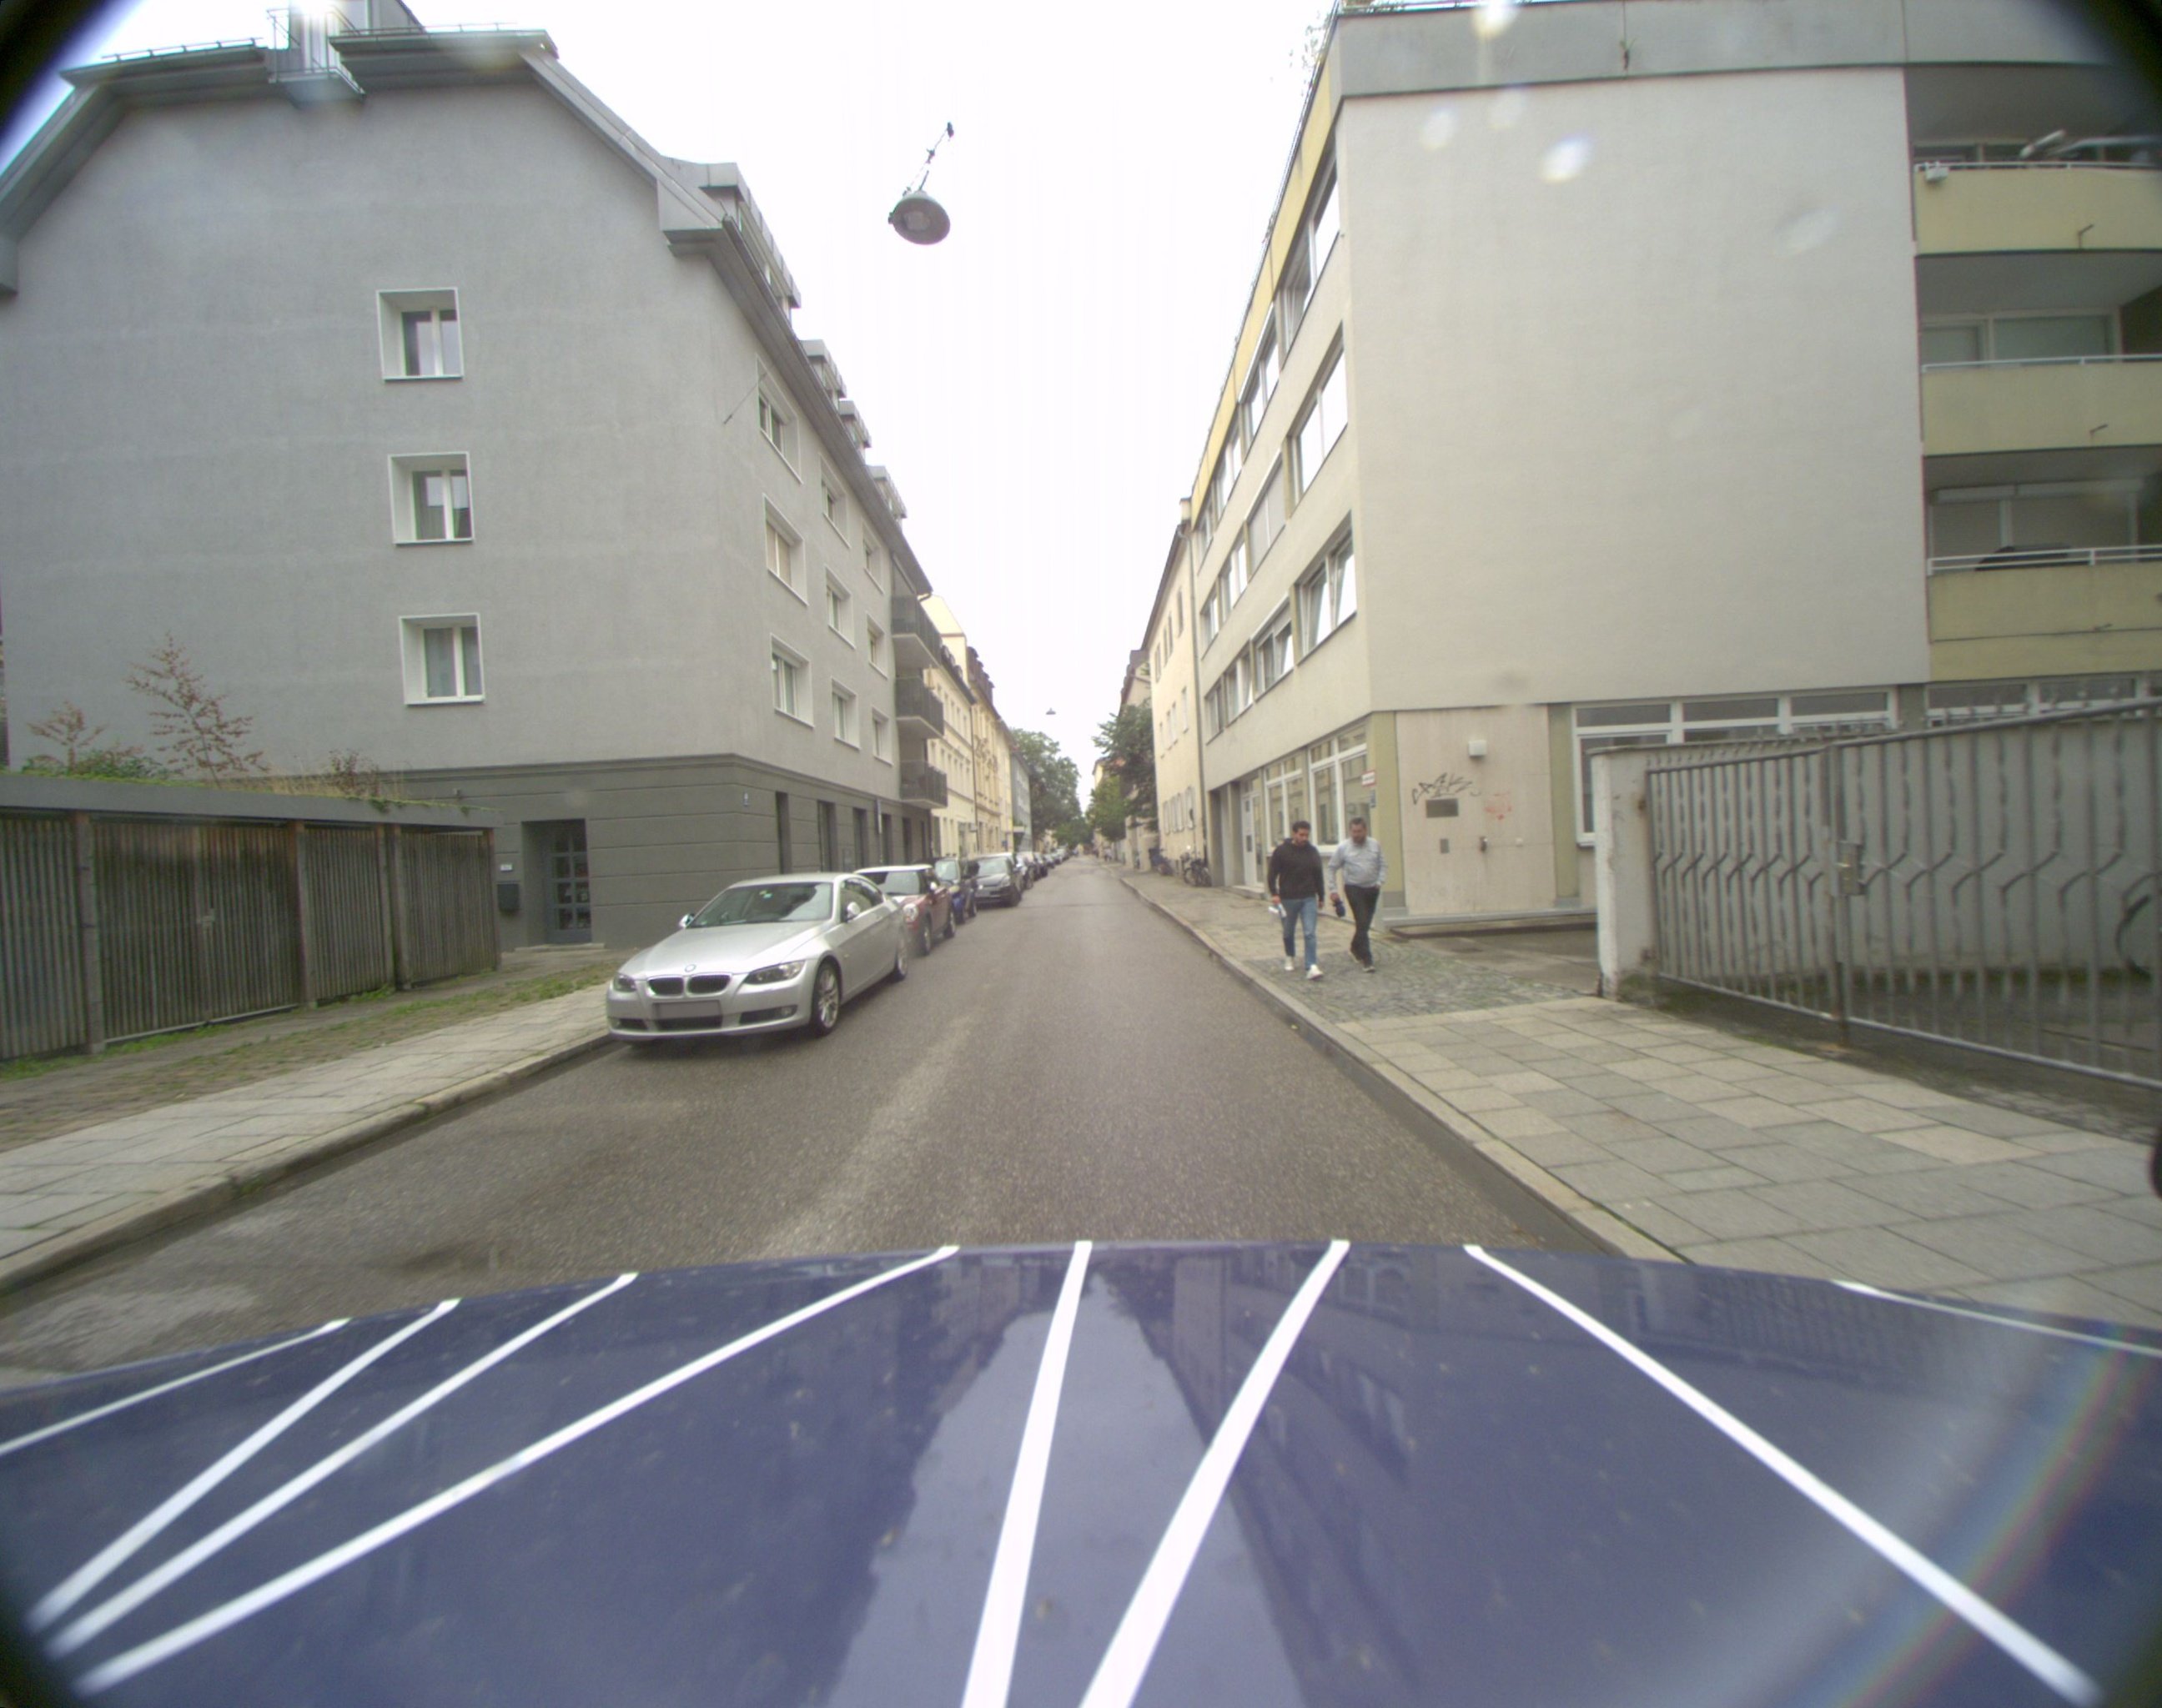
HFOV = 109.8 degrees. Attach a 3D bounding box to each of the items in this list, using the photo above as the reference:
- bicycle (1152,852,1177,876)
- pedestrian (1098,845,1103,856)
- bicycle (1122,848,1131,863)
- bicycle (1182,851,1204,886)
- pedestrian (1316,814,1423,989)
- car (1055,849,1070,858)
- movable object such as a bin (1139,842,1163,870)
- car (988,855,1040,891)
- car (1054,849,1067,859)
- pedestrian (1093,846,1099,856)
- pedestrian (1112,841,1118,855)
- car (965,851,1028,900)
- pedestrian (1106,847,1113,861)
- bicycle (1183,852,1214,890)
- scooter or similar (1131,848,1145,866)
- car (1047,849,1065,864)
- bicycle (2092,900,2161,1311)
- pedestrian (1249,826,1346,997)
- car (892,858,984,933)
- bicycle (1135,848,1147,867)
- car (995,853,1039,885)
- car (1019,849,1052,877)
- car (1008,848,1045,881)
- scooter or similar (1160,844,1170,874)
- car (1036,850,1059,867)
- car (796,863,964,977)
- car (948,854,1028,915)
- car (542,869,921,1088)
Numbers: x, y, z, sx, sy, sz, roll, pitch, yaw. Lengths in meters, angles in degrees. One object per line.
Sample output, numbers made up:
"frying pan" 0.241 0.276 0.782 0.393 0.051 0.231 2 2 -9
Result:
"bicycle" 3.808 0.449 34.766 0.705 0.978 1.822 -7 1 -4
"pedestrian" 3.085 -0.589 119.468 0.766 1.742 0.970 -3 1 0
"bicycle" 3.773 0.105 63.469 0.539 1.132 1.916 -5 1 -1
"bicycle" 3.917 0.495 26.623 0.459 1.153 1.605 -5 1 1
"pedestrian" 3.159 0.495 8.410 0.720 1.786 0.916 -5 2 1
"car" -2.789 -0.106 116.386 1.998 1.306 4.592 -3 1 1
"movable object such as a bin" 4.127 0.121 44.618 1.177 1.433 1.249 -8 -1 6
"car" -2.835 0.770 32.890 1.812 1.355 3.945 -2 1 1
"car" -2.972 -0.022 110.900 1.860 1.366 4.509 -5 1 -1
"pedestrian" 2.687 -0.557 138.935 0.920 1.742 1.066 -3 1 0
"pedestrian" 4.038 -0.678 90.354 0.615 1.612 0.687 -6 1 1
"car" -2.983 0.710 27.681 1.880 1.561 4.315 -2 1 -1
"pedestrian" 3.384 0.033 90.381 0.624 1.570 0.714 -4 2 0
"bicycle" 3.832 0.529 24.908 0.563 1.153 1.720 -3 1 -6
"scooter or similar" 3.893 0.214 51.893 0.553 1.137 1.359 -5 1 17
"car" -2.887 0.240 86.432 1.846 1.420 4.263 -7 1 -2
"bicycle" 3.774 0.768 1.723 0.644 1.210 1.662 -3 1 -19
"pedestrian" 2.373 0.599 8.411 0.720 1.755 0.838 -5 2 1
"car" -3.298 0.912 18.086 1.525 1.503 3.201 -4 1 -1
"bicycle" 3.932 0.235 49.828 0.545 1.154 1.881 -5 1 -1
"car" -3.086 0.684 37.427 1.804 1.378 4.348 -2 1 0
"car" -2.857 0.543 48.276 1.706 1.598 4.684 -3 1 0
"car" -2.979 0.545 42.371 1.680 1.651 4.512 -3 1 0
"scooter or similar" 4.036 0.223 36.492 0.318 1.368 1.239 -2 1 0
"car" -3.009 0.395 69.045 1.830 1.327 4.508 -7 1 0
"car" -3.217 0.973 13.047 1.750 1.453 4.149 -4 1 -1
"car" -2.693 0.839 22.991 1.844 1.520 4.292 -4 1 -1
"car" -3.116 0.985 8.033 1.841 1.409 4.600 -4 1 -1
